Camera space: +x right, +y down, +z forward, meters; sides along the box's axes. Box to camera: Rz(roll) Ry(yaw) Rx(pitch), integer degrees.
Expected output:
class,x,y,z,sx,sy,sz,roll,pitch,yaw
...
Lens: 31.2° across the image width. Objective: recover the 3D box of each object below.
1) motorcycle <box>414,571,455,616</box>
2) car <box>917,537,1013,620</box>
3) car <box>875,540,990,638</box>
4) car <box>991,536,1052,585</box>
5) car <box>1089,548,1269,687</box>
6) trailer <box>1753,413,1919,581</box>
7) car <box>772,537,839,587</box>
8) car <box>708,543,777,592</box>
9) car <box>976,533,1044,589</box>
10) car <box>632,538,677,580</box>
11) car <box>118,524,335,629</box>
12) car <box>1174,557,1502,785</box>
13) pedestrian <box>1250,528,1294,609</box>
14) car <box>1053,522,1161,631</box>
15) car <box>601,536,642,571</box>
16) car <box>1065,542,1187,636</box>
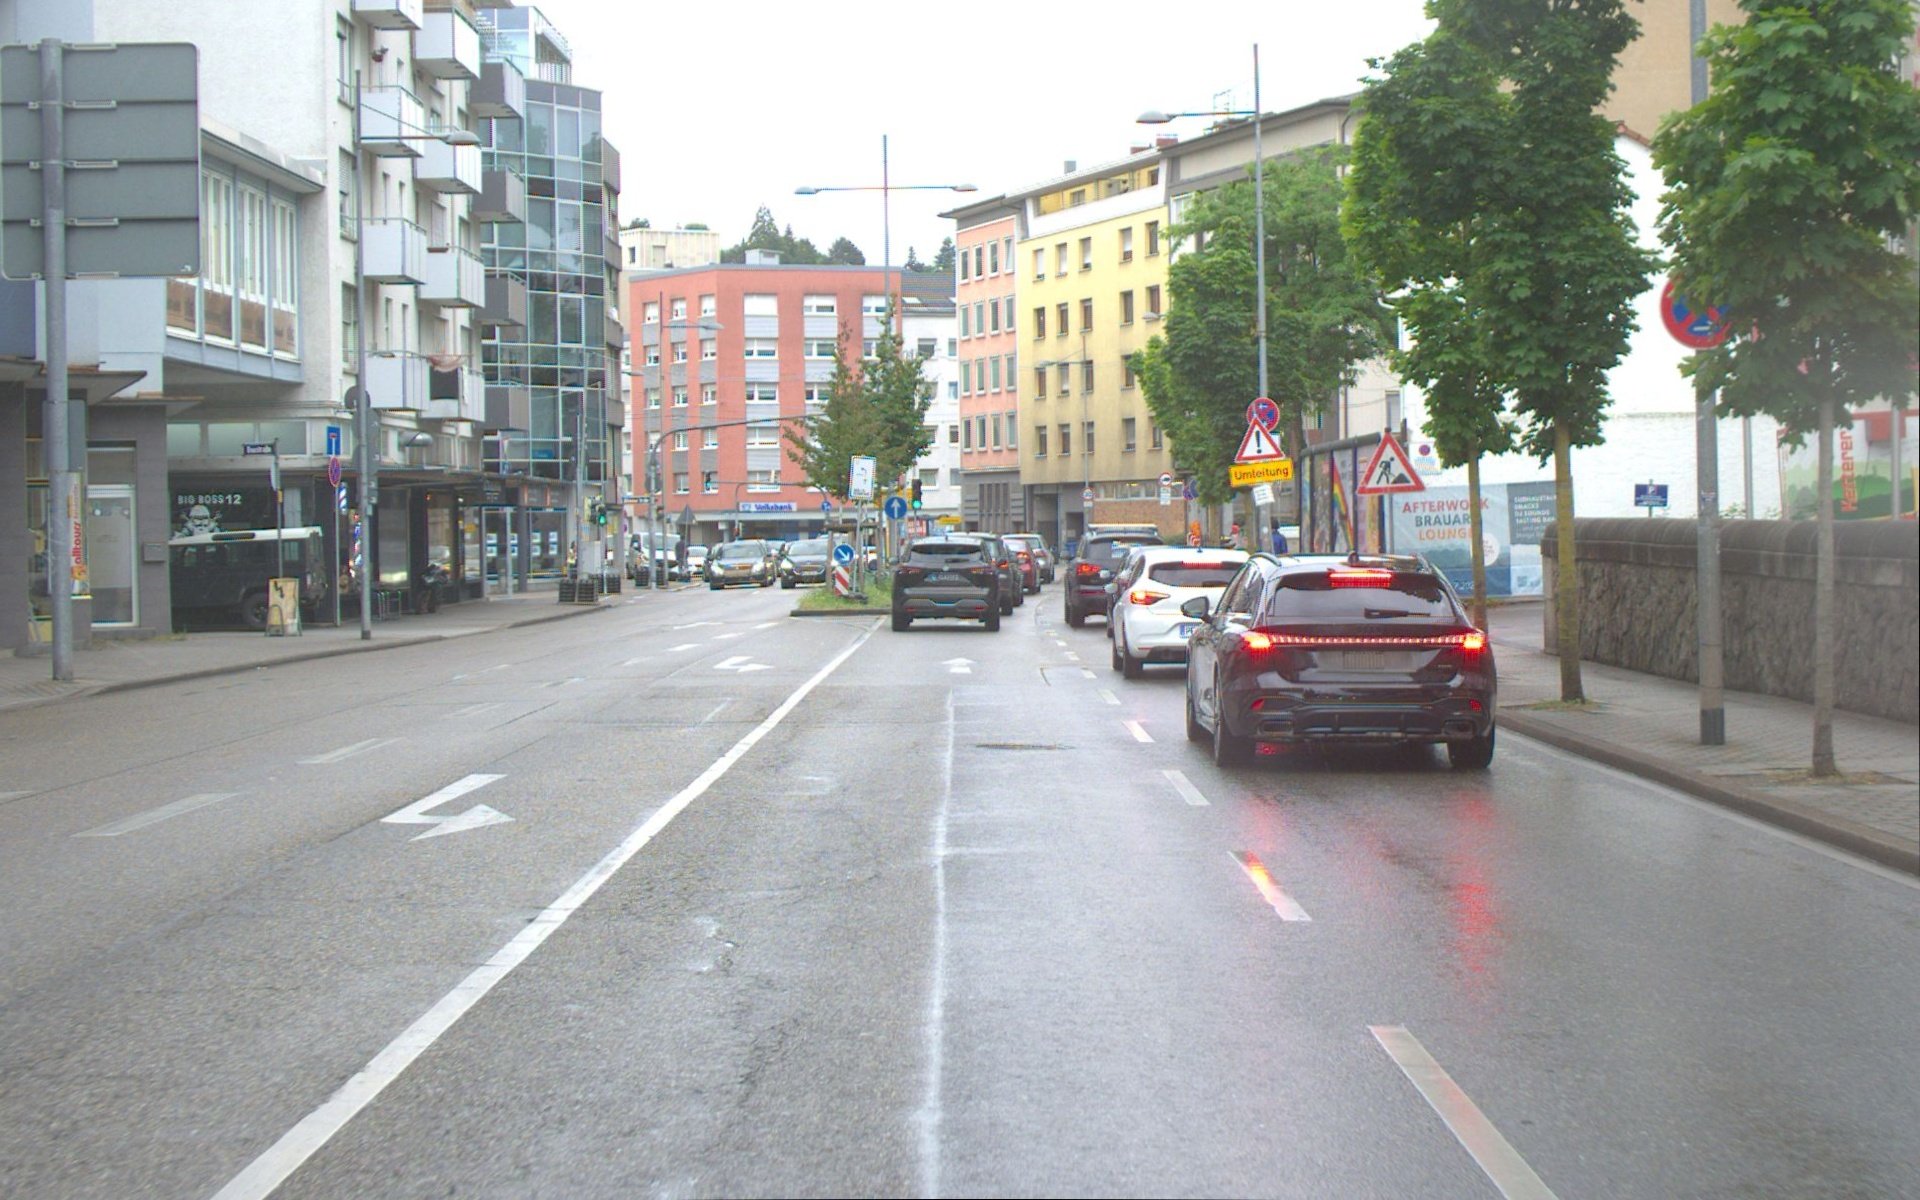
class,x,y,z,sx,sy,sz,roll,pitch,yaw
motorcycle,-12.057,-0.160,78.937,0.525,0.992,2.136,1,1,2
car,0.128,-0.454,69.208,1.823,1.595,3.718,1,1,1
car,-0.444,-0.220,58.930,1.823,1.595,3.718,1,1,1
car,1.789,-1.161,101.059,1.641,1.376,3.348,-2,1,0
car,2.427,0.156,38.878,1.665,1.391,3.867,-1,2,-1
trailer,15.457,-1.801,59.919,2.127,2.707,5.391,-3,1,3
car,-4.695,-1.164,104.716,1.720,1.418,4.165,-3,1,1
car,-6.937,-1.059,109.967,1.708,1.463,4.829,-3,1,1
car,1.296,-1.016,89.772,1.641,1.376,3.348,-2,1,0
car,-11.973,-1.601,134.587,1.549,1.565,3.349,1,0,-8
car,-14.681,-0.485,68.948,3.963,2.027,1.580,-1,1,1
car,2.575,0.430,24.416,1.789,1.398,4.634,-1,1,0
pedestrian,6.929,-0.697,76.299,0.792,1.749,0.871,-2,1,14
car,2.625,-0.450,61.417,1.830,1.799,3.718,1,2,2
car,-14.420,-1.986,146.303,1.455,1.425,3.371,1,2,-10
car,2.601,-0.193,53.201,1.787,1.395,3.718,0,1,4
